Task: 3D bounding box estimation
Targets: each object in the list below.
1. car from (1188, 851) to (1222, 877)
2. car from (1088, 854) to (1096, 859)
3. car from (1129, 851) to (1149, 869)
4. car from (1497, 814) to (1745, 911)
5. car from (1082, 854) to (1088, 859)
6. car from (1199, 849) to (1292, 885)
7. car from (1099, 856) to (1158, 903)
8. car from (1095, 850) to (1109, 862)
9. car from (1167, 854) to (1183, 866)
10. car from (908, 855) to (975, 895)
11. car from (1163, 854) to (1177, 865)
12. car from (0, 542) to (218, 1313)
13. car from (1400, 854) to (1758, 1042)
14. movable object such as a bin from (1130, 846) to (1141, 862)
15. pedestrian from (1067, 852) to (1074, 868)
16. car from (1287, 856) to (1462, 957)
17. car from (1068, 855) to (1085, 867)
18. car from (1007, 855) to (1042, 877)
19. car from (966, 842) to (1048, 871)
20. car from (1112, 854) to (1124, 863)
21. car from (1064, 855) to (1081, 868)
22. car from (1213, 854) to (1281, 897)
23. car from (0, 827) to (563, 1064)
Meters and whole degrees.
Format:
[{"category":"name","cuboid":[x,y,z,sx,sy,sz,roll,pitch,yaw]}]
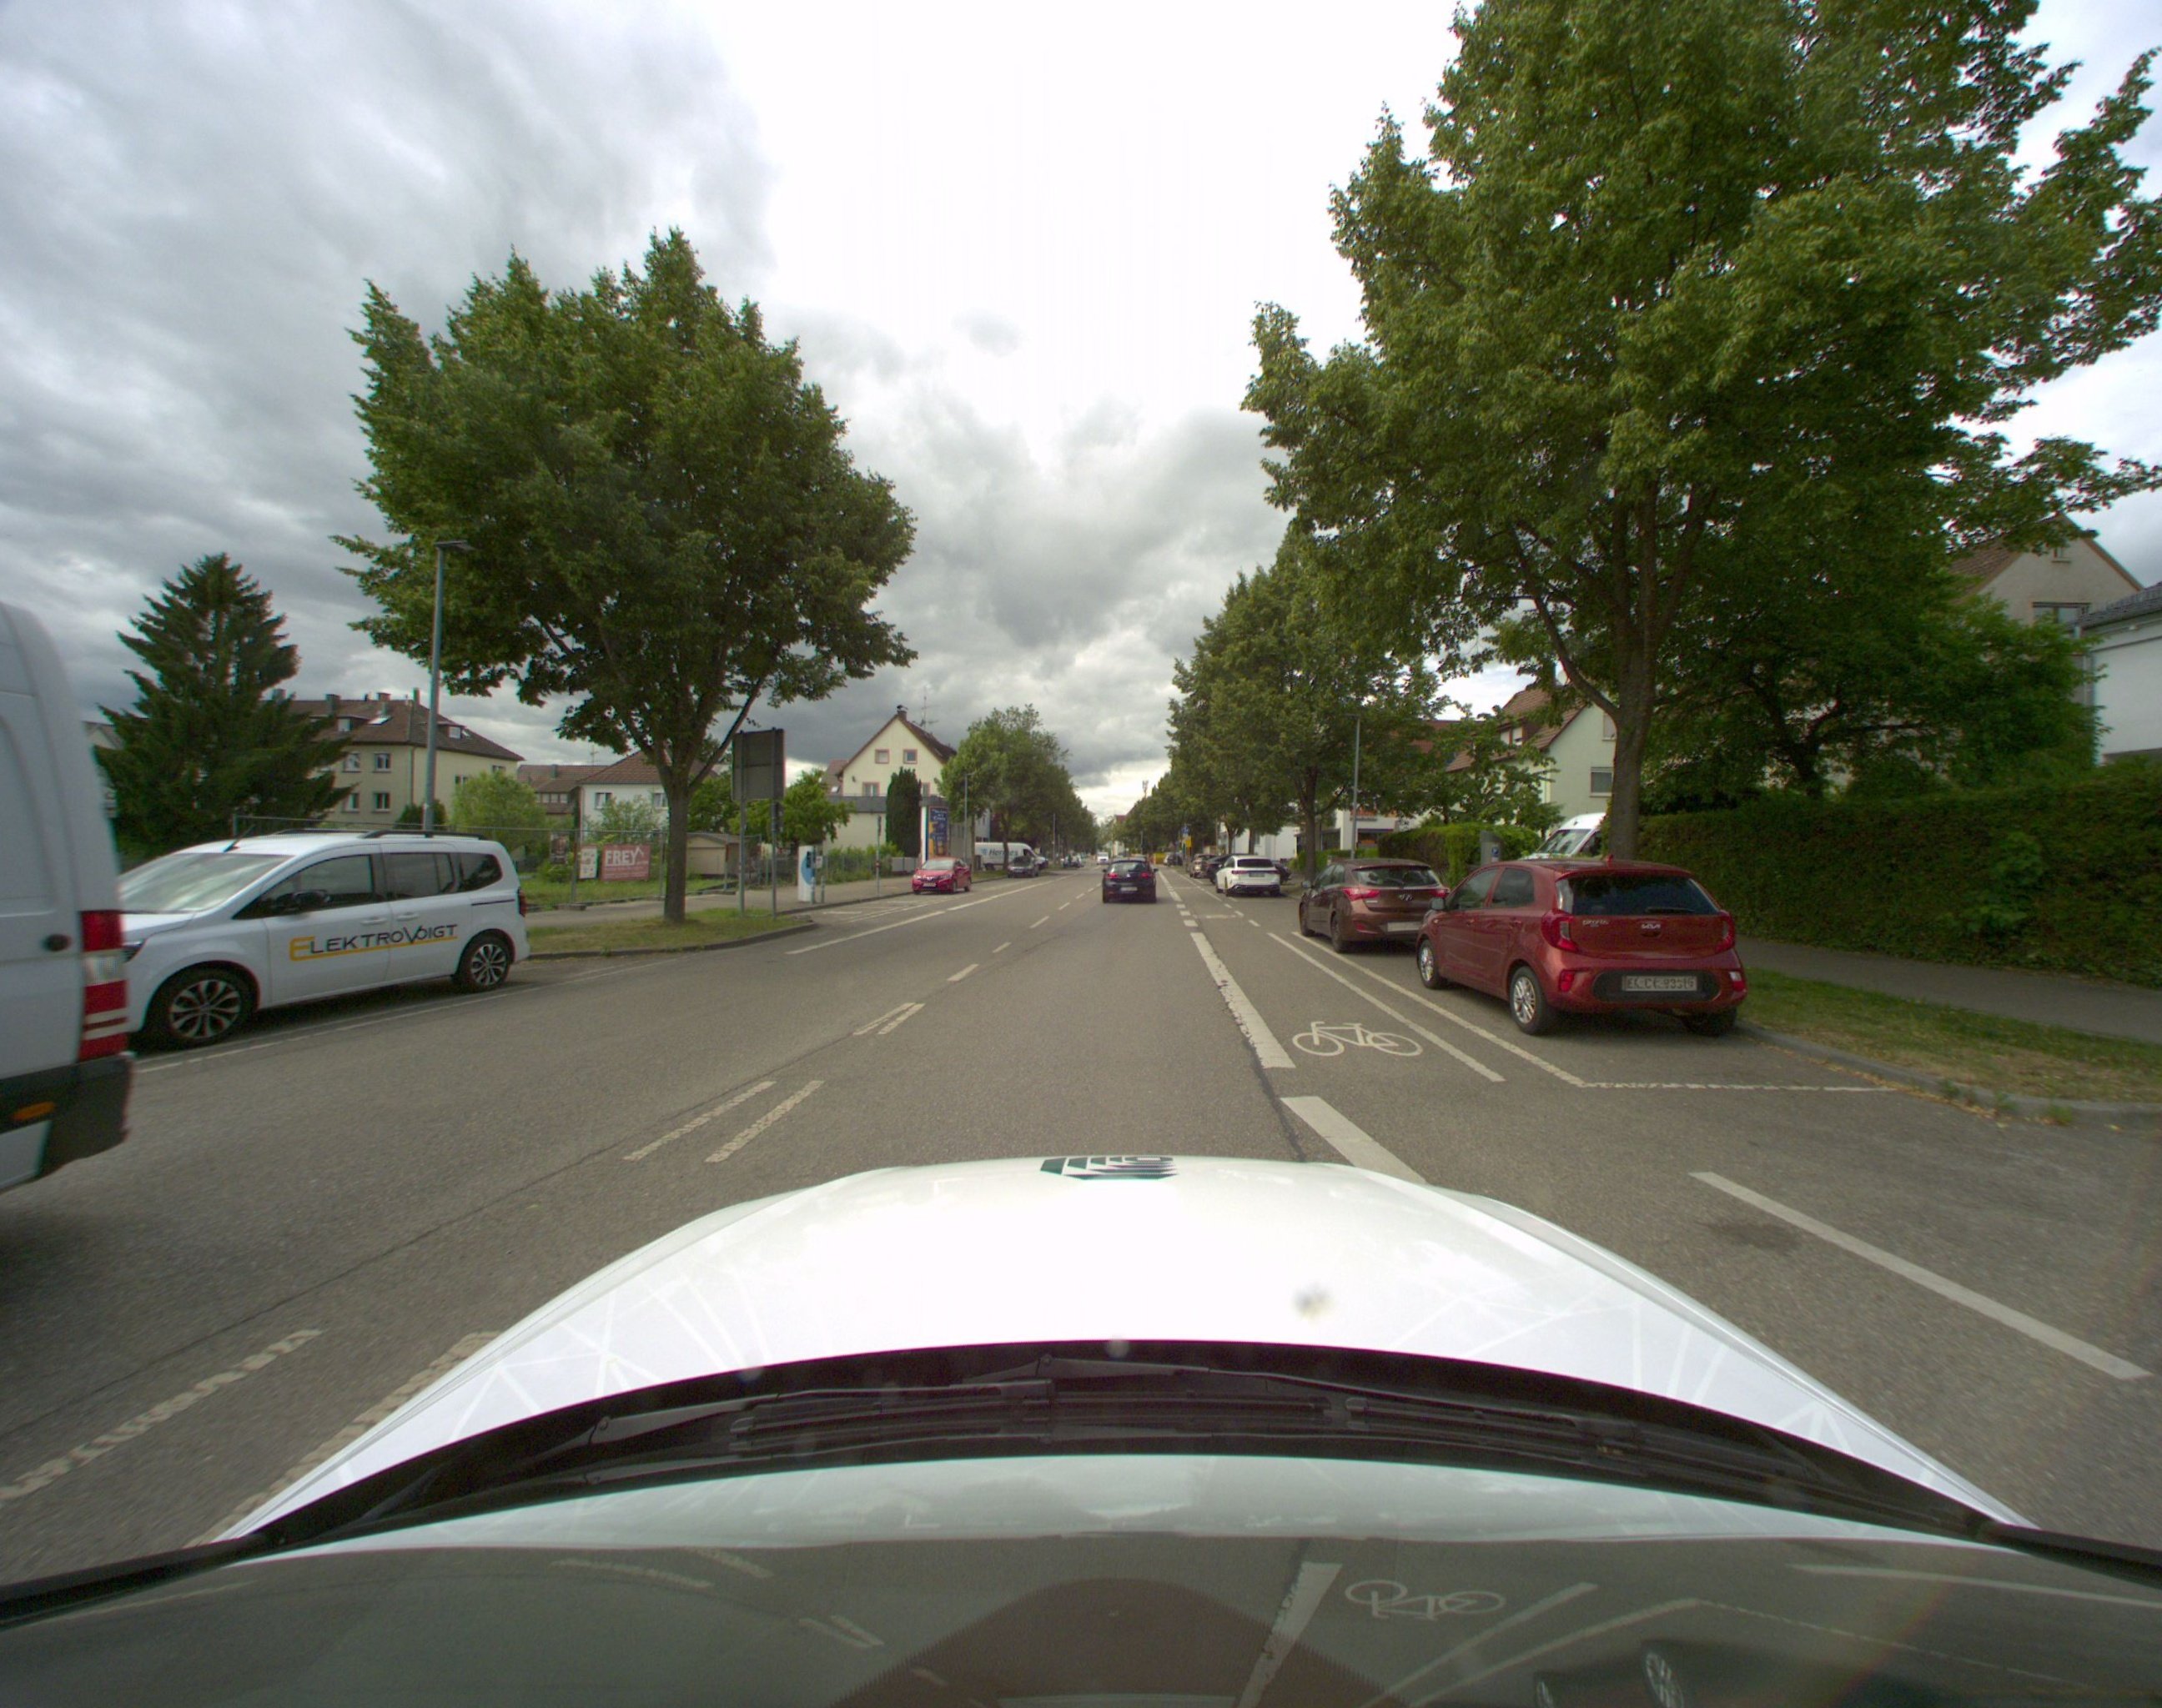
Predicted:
[{"category":"car","cuboid":[7.935,0.625,52.259,1.715,1.580,4.063,0,0,2]},{"category":"car","cuboid":[2.893,0.645,215.666,1.808,1.415,3.683,0,0,-7]},{"category":"car","cuboid":[5.796,0.564,81.617,1.896,1.685,3.745,-1,0,5]},{"category":"car","cuboid":[15.034,0.218,22.891,5.695,2.591,1.997,0,1,-1]},{"category":"car","cuboid":[1.116,0.777,257.302,1.805,1.415,3.691,0,0,-1]},{"category":"car","cuboid":[8.128,0.634,40.449,4.205,1.638,1.692,-1,0,-2]},{"category":"car","cuboid":[1.526,0.804,27.152,1.812,1.437,3.741,-1,0,2]},{"category":"car","cuboid":[3.284,0.314,124.942,1.957,1.830,4.824,0,0,4]},{"category":"car","cuboid":[11.680,0.726,101.428,1.698,1.454,4.620,-1,0,3]},{"category":"car","cuboid":[-5.783,0.840,34.148,1.676,1.541,4.139,0,0,6]},{"category":"car","cuboid":[12.147,0.747,111.238,1.666,1.462,4.001,0,0,1]},{"category":"car","cuboid":[-4.988,0.258,0.662,2.009,2.674,5.816,0,0,6]},{"category":"car","cuboid":[4.596,0.754,8.193,1.558,1.455,3.672,0,-1,4]},{"category":"movable object such as a bin","cuboid":[8.930,0.062,133.937,1.761,2.574,3.741,0,0,2]},{"category":"pedestrian","cuboid":[-1.082,0.646,86.318,0.539,1.681,0.753,1,1,12]},{"category":"car","cuboid":[4.815,0.776,13.988,1.646,1.416,4.180,-1,0,3]},{"category":"car","cuboid":[-0.552,0.863,101.061,1.705,1.406,4.307,-1,0,6]},{"category":"car","cuboid":[-3.905,0.813,56.680,1.723,1.469,4.308,-1,0,5]},{"category":"car","cuboid":[-6.733,0.228,74.622,7.264,2.594,2.220,0,0,0]},{"category":"car","cuboid":[6.154,0.764,134.707,1.804,1.375,3.692,0,0,-1]},{"category":"car","cuboid":[-0.972,0.876,94.416,1.636,1.420,4.023,-1,0,3]},{"category":"car","cuboid":[6.079,0.735,30.375,1.798,1.475,4.815,0,0,3]},{"category":"car","cuboid":[-7.877,0.679,8.427,1.761,1.770,4.559,0,0,6]}]
